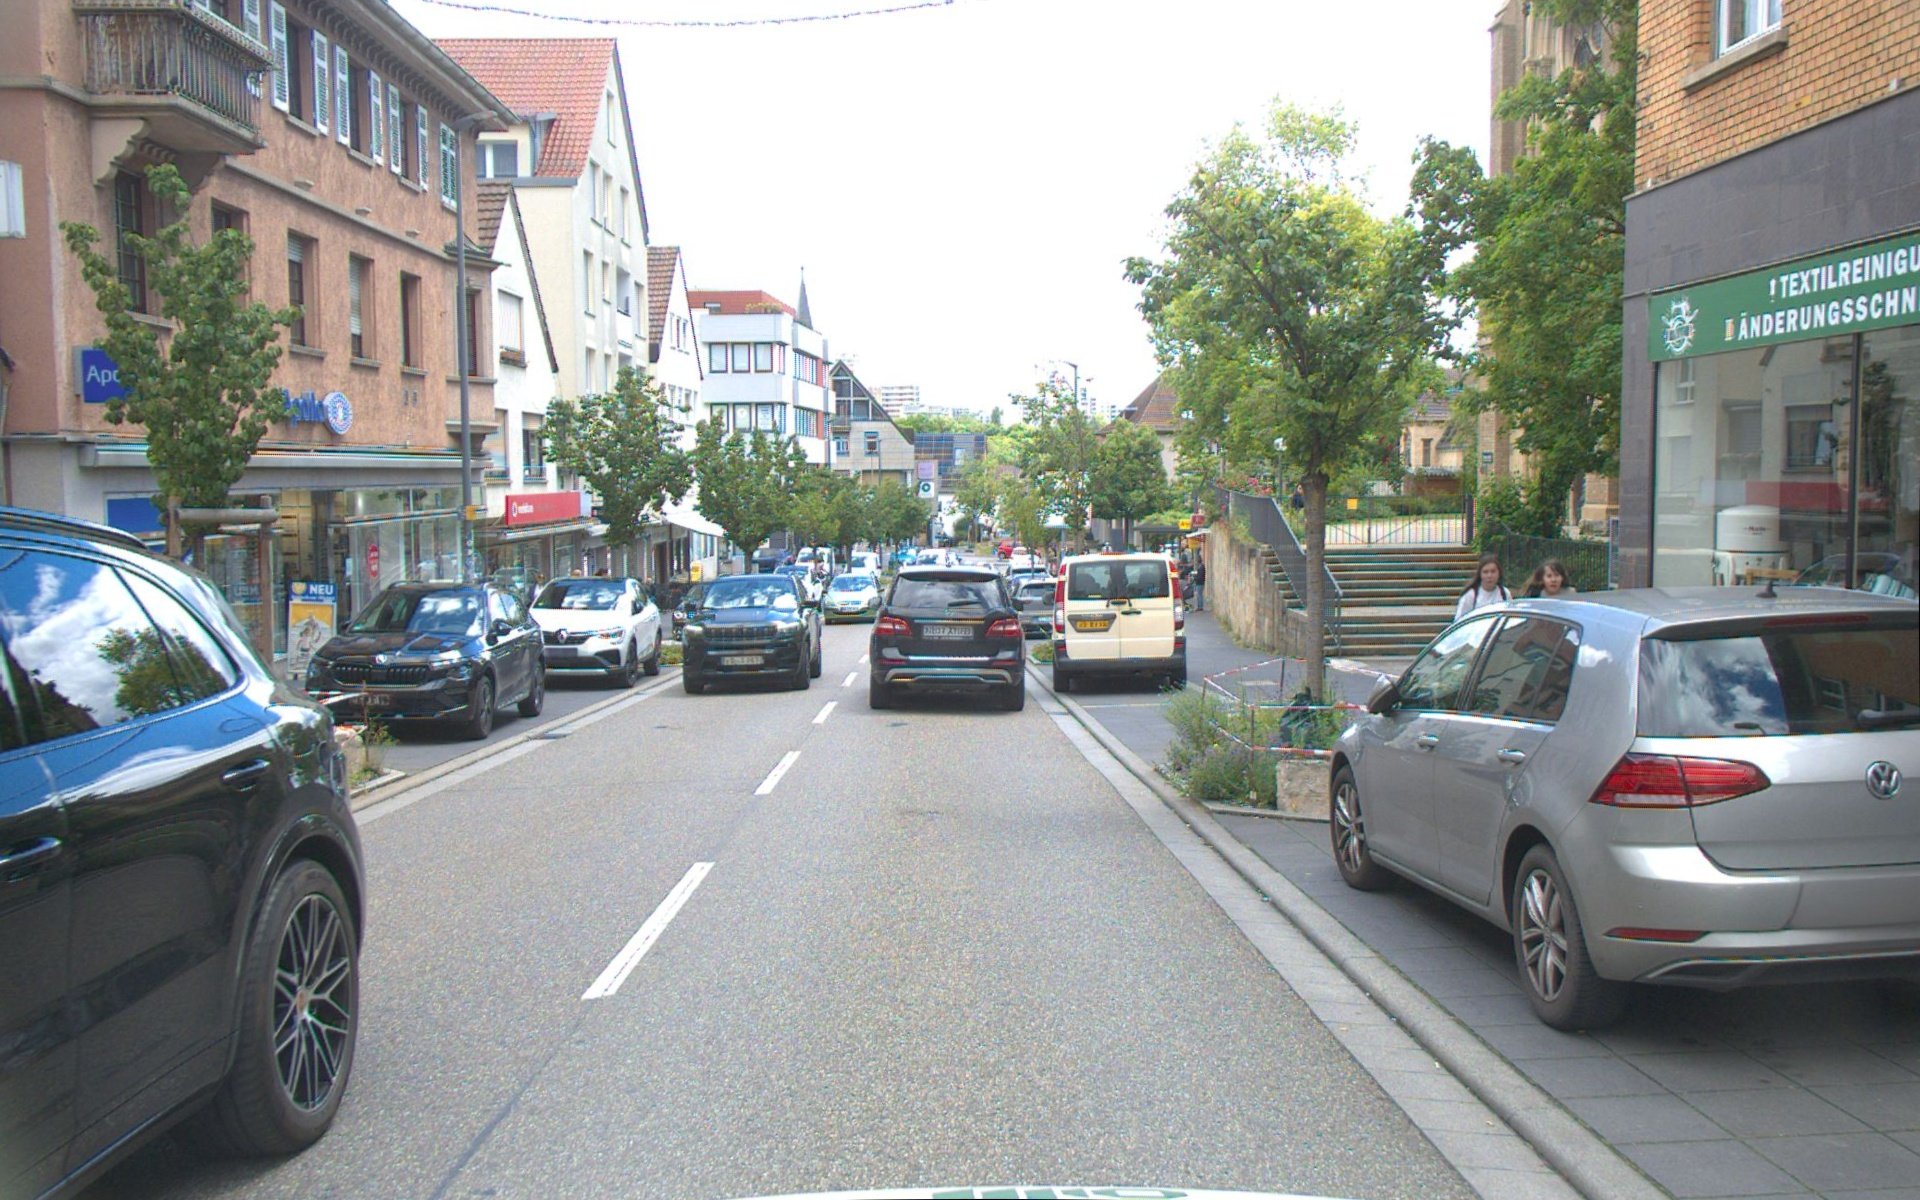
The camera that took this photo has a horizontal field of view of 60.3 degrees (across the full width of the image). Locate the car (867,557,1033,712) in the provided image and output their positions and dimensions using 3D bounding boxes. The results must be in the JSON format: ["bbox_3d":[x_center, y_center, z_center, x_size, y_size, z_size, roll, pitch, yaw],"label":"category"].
[{"bbox_3d":[-0.133,0.357,21.302,1.904,1.770,4.179,1,1,-1],"label":"car"}]

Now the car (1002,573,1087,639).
[{"bbox_3d":[2.103,0.106,42.260,1.898,1.482,4.707,-1,2,0],"label":"car"}]

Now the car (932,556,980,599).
[{"bbox_3d":[-0.182,-0.971,68.887,1.887,1.656,4.262,2,2,-1],"label":"car"}]

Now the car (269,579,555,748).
[{"bbox_3d":[-5.766,0.578,17.980,1.888,1.522,4.259,-1,2,-4],"label":"car"}]

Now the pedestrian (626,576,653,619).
[{"bbox_3d":[-9.751,-0.084,50.314,0.673,1.304,0.676,-1,1,-2],"label":"pedestrian"}]

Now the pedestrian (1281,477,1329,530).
[{"bbox_3d":[8.475,-2.374,40.660,0.970,1.252,0.984,0,0,1],"label":"pedestrian"}]

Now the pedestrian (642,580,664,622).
[{"bbox_3d":[-9.587,0.032,51.661,0.553,1.304,0.758,0,1,-2],"label":"pedestrian"}]

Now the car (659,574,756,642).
[{"bbox_3d":[-6.317,0.155,41.840,1.888,1.522,4.261,2,2,-2],"label":"car"}]

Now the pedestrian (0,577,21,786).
[{"bbox_3d":[-7.652,0.638,12.536,0.536,1.603,0.863,-1,1,-2],"label":"pedestrian"}]

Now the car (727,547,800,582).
[{"bbox_3d":[-11.038,-2.009,93.071,3.909,1.780,1.998,-3,1,-5],"label":"car"}]

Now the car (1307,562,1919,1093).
[{"bbox_3d":[2.822,0.638,6.933,1.713,1.491,4.073,-3,1,-2],"label":"car"}]

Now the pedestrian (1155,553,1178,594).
[{"bbox_3d":[10.038,-1.279,80.321,1.027,1.946,0.937,-2,1,6],"label":"pedestrian"}]

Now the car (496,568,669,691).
[{"bbox_3d":[-5.675,0.374,25.387,1.888,1.623,4.455,2,2,-4],"label":"car"}]

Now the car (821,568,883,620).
[{"bbox_3d":[-3.362,-0.215,51.947,1.775,1.534,3.999,-1,1,-2],"label":"car"}]

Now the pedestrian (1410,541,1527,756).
[{"bbox_3d":[4.101,0.378,13.382,0.658,1.661,0.669,-3,1,-3],"label":"pedestrian"}]

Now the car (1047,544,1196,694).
[{"bbox_3d":[2.281,0.179,24.385,1.897,1.924,4.709,-2,2,3],"label":"car"}]

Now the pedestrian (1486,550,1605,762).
[{"bbox_3d":[4.789,0.442,13.556,0.658,1.661,0.669,-3,1,-3],"label":"pedestrian"}]

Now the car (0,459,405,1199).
[{"bbox_3d":[-2.673,0.656,2.827,1.951,1.748,4.446,-2,1,-1],"label":"car"}]

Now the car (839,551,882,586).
[{"bbox_3d":[-4.969,-1.595,82.767,1.887,1.656,4.262,2,2,-1],"label":"car"}]

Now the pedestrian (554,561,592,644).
[{"bbox_3d":[-8.019,0.052,34.321,0.628,1.696,0.720,0,1,-2],"label":"pedestrian"}]

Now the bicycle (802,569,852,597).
[{"bbox_3d":[-5.586,-0.732,69.375,1.934,1.076,0.706,-3,1,-28],"label":"bicycle"}]

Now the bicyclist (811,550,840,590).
[{"bbox_3d":[-5.629,-1.258,69.345,0.951,1.637,0.724,-3,1,-28],"label":"bicyclist"}]

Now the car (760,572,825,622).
[{"bbox_3d":[-5.877,-0.130,58.473,1.887,1.657,4.262,0,2,-1],"label":"car"}]

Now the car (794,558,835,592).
[{"bbox_3d":[-7.498,-1.325,85.699,1.888,1.656,4.413,2,2,-3],"label":"car"}]

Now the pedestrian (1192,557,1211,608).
[{"bbox_3d":[7.692,-0.567,52.721,0.556,1.614,0.666,-1,0,7],"label":"pedestrian"}]

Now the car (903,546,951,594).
[{"bbox_3d":[-1.692,-1.579,86.609,2.128,2.405,4.625,-1,1,3],"label":"car"}]

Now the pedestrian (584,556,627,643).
[{"bbox_3d":[-6.999,-0.008,32.708,0.712,1.696,0.720,0,1,-2],"label":"pedestrian"}]

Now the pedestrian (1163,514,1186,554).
[{"bbox_3d":[12.125,-3.713,93.447,0.990,2.188,1.068,-2,1,17],"label":"pedestrian"}]

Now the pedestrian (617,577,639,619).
[{"bbox_3d":[-10.363,-0.063,51.671,0.553,1.304,0.758,0,1,-2],"label":"pedestrian"}]

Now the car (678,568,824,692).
[{"bbox_3d":[-3.011,0.383,24.550,1.729,1.645,4.031,-1,1,-2],"label":"car"}]

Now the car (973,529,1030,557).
[{"bbox_3d":[3.238,-4.451,129.742,4.110,2.065,1.783,0,1,33],"label":"car"}]
